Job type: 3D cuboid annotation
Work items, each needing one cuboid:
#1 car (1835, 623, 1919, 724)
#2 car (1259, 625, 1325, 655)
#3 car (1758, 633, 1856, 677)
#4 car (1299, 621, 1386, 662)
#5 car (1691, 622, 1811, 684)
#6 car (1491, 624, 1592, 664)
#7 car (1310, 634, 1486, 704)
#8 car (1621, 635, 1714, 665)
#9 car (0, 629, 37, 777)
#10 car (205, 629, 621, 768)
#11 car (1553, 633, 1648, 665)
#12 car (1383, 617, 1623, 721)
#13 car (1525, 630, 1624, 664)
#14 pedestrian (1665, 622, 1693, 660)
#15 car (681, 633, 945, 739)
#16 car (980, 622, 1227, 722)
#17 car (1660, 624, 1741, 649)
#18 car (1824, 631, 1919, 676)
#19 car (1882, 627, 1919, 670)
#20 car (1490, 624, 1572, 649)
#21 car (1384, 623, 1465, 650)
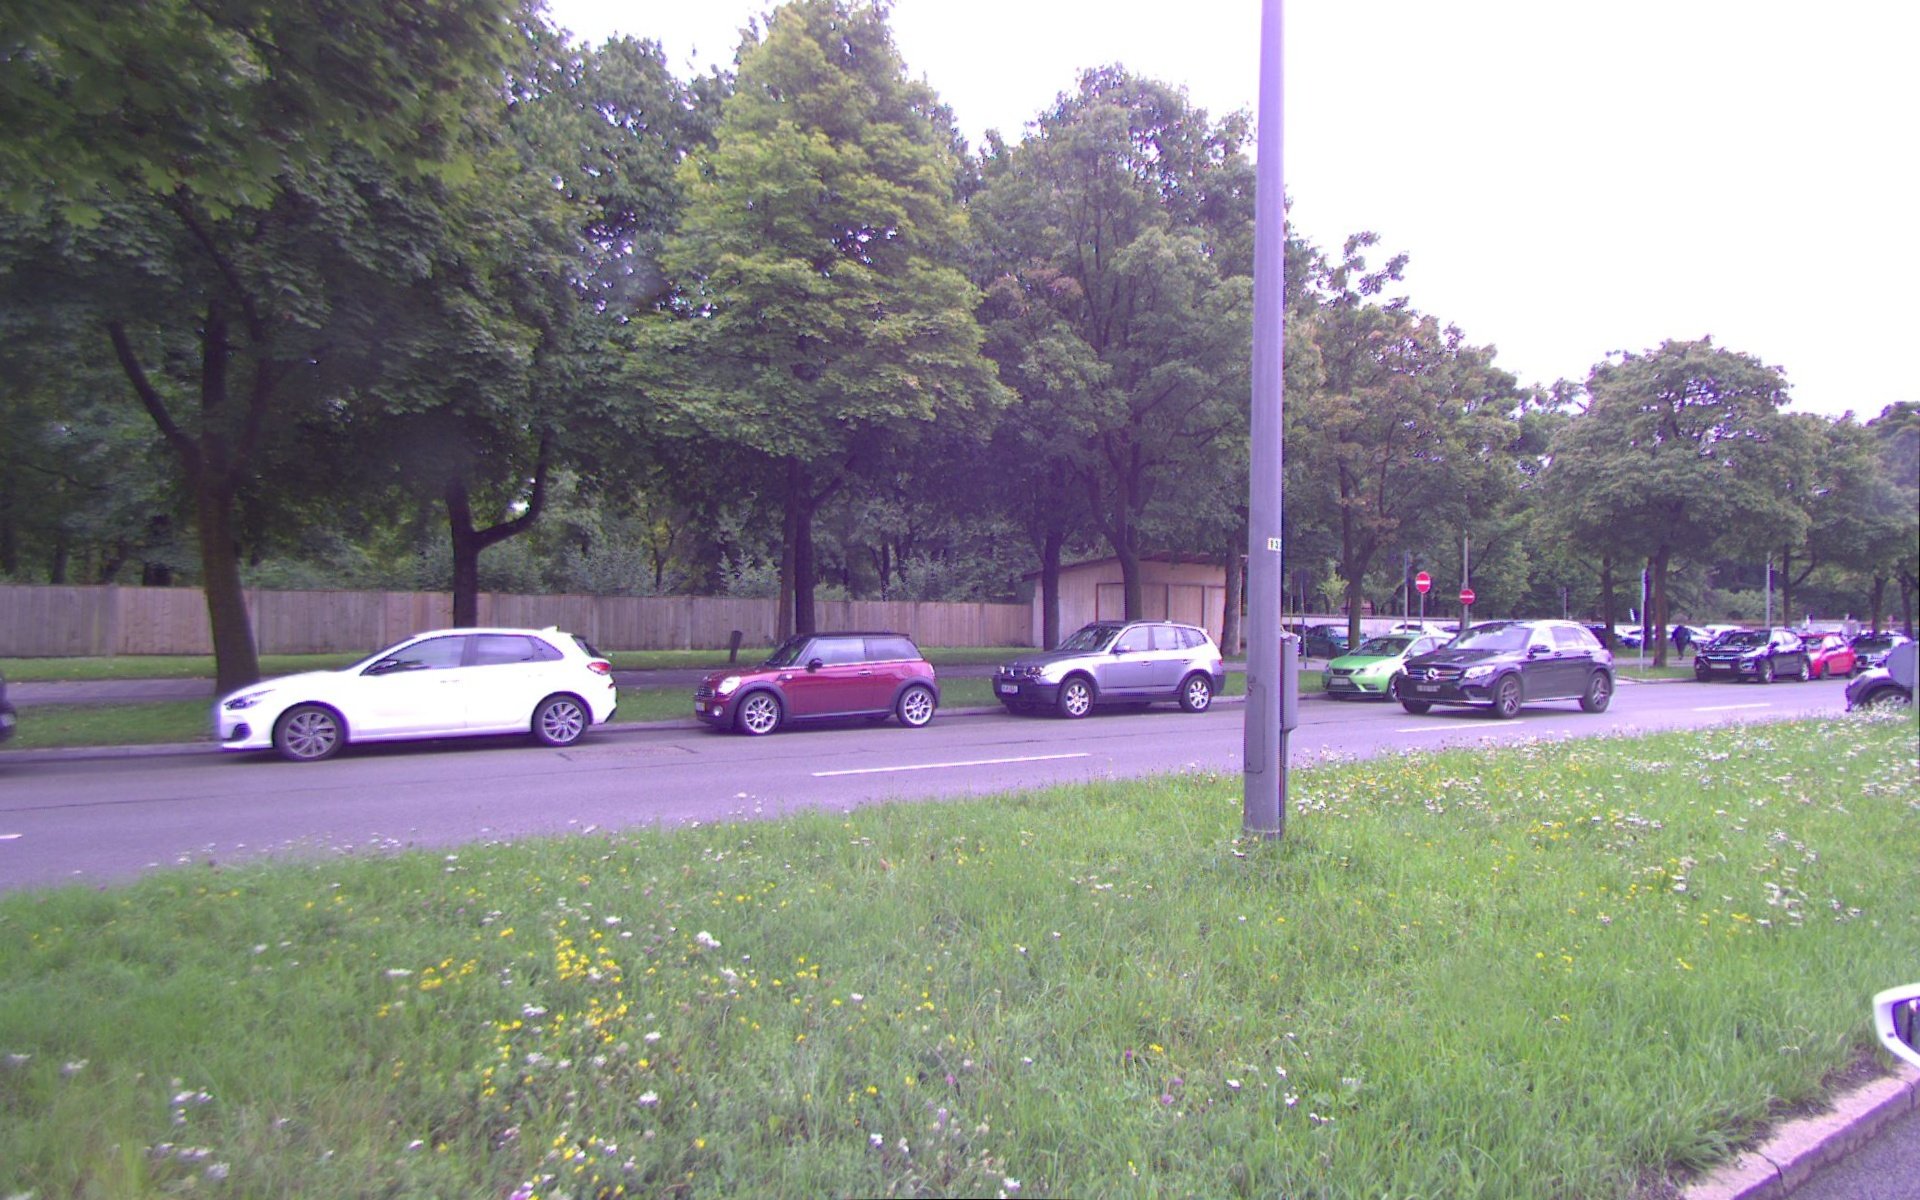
[{"bbox_3d":[15.330,1.112,14.519,1.664,1.482,3.711,1,0,-24],"label":"car"},{"bbox_3d":[15.197,1.796,46.207,1.639,1.217,4.421,2,0,1],"label":"car"},{"bbox_3d":[28.625,1.835,33.927,3.343,1.329,1.582,2,0,-32],"label":"car"},{"bbox_3d":[15.361,1.625,40.591,1.922,1.465,4.421,2,0,1],"label":"car"},{"bbox_3d":[24.514,1.617,31.114,3.835,1.764,1.707,2,0,-32],"label":"car"},{"bbox_3d":[28.144,2.100,48.710,1.656,1.740,3.892,2,0,-35],"label":"car"},{"bbox_3d":[9.720,1.474,22.246,3.831,1.428,1.541,1,-2,-29],"label":"car"},{"bbox_3d":[38.627,2.713,54.937,1.656,1.465,3.840,2,0,-35],"label":"car"},{"bbox_3d":[-11.237,0.991,9.190,3.856,1.436,1.604,1,-2,-33],"label":"car"},{"bbox_3d":[-6.511,1.096,12.338,4.230,1.463,1.599,1,-2,-31],"label":"car"},{"bbox_3d":[33.621,2.542,52.794,1.656,1.465,3.840,2,0,-35],"label":"car"},{"bbox_3d":[9.749,1.178,17.954,4.455,1.644,1.757,1,-3,-31],"label":"car"},{"bbox_3d":[30.452,2.311,49.841,1.656,1.465,3.840,2,0,-35],"label":"car"},{"bbox_3d":[30.437,1.731,42.535,0.712,1.554,0.724,1,0,-30],"label":"pedestrian"},{"bbox_3d":[-2.166,1.204,14.974,3.586,1.415,1.584,1,-2,-29],"label":"car"},{"bbox_3d":[2.615,1.219,17.940,4.322,1.607,1.682,1,-2,-32],"label":"car"},{"bbox_3d":[47.220,2.319,64.091,1.656,1.465,3.840,2,0,-35],"label":"car"},{"bbox_3d":[32.987,1.911,36.227,3.835,1.465,1.658,2,0,-32],"label":"car"},{"bbox_3d":[37.575,1.883,39.036,3.835,1.579,1.582,2,0,-32],"label":"car"},{"bbox_3d":[38.836,2.471,68.379,1.653,1.465,4.669,2,0,-29],"label":"car"},{"bbox_3d":[29.325,2.314,63.529,1.653,1.496,4.485,2,0,-29],"label":"car"}]
